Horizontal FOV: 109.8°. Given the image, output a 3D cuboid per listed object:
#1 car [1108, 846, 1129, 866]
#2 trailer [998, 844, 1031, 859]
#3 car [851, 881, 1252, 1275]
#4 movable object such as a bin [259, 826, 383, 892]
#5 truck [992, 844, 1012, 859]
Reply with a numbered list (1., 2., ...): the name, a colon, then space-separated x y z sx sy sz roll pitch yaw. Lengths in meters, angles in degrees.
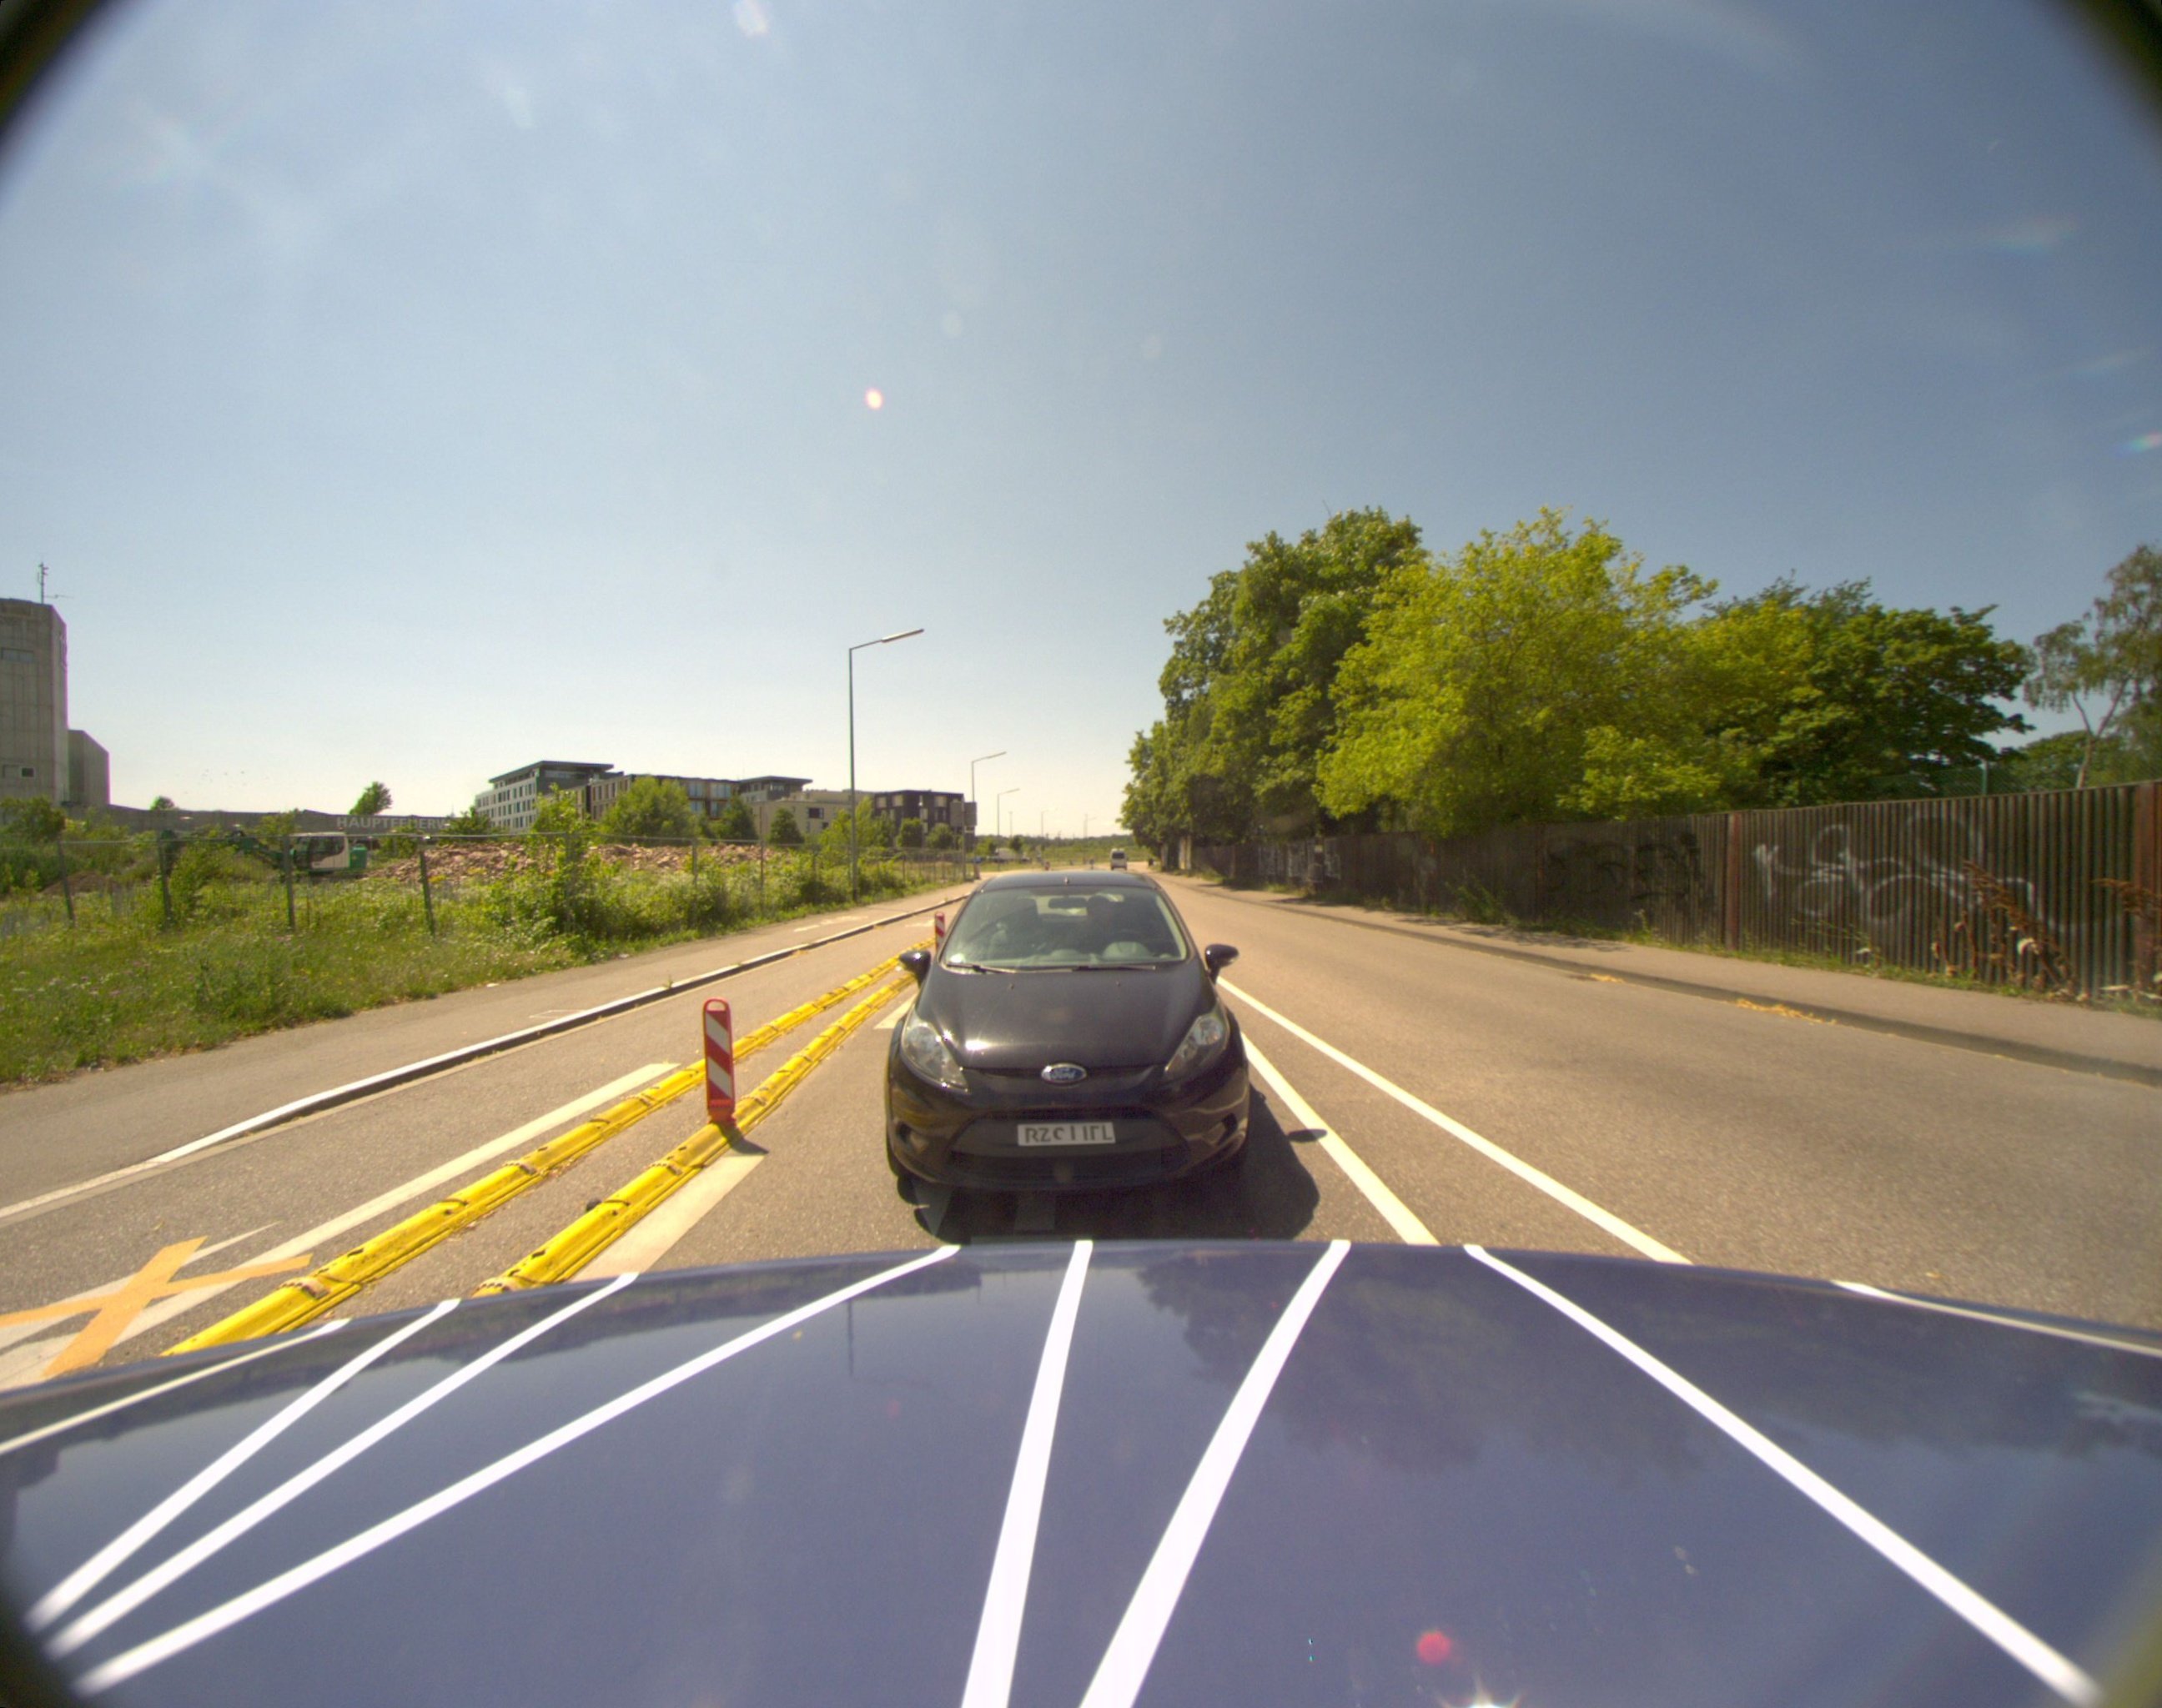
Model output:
1. car: 4.694 0.230 96.850 2.025 2.524 6.825 0 0 -2
2. trailer: -15.138 -0.654 174.421 8.194 3.329 1.994 -1 0 -45
3. car: -0.101 0.993 5.110 1.602 1.422 4.000 -2 0 1
4. movable object such as a bin: -37.632 0.236 37.759 2.204 3.045 3.690 -2 1 6
5. truck: -17.895 -0.652 171.681 4.008 3.316 1.994 -1 1 -45
